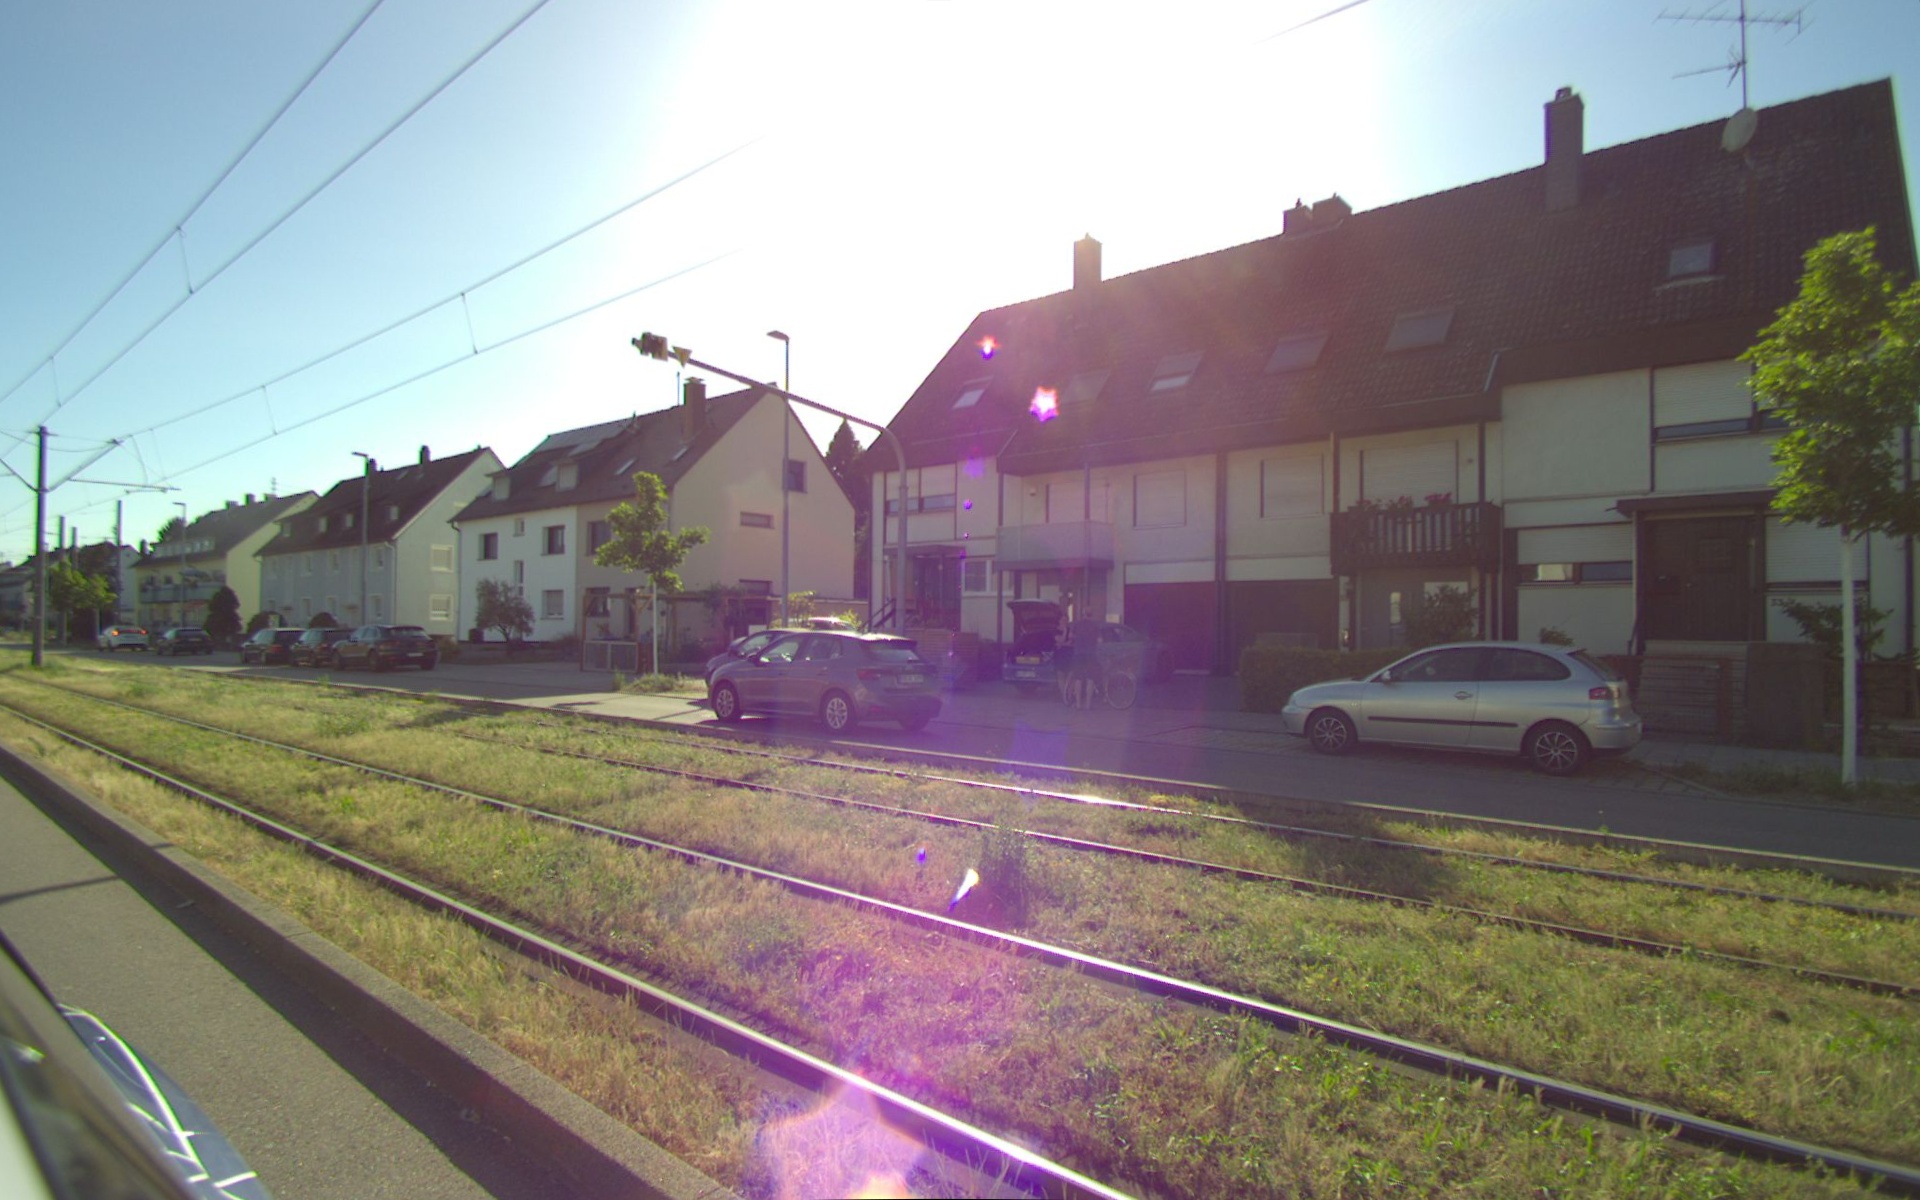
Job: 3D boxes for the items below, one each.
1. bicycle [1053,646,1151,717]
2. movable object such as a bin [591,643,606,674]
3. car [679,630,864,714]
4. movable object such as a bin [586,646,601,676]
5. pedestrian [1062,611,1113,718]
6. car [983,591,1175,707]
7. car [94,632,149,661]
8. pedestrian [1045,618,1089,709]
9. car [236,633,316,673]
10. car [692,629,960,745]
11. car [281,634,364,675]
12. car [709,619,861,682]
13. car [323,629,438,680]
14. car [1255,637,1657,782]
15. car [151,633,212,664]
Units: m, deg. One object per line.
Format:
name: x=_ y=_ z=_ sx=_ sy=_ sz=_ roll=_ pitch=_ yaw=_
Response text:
bicycle: x=2.519 y=1.431 z=18.149 sx=0.471 sy=1.172 sz=1.873 roll=0 pitch=-1 yaw=-43
movable object such as a bin: x=-11.912 y=1.936 z=33.371 sx=0.607 sy=1.021 sz=0.196 roll=-3 pitch=-3 yaw=44
car: x=-3.946 y=1.403 z=20.763 sx=4.084 sy=1.523 sz=1.601 roll=-2 pitch=-1 yaw=43
movable object such as a bin: x=-11.704 y=1.952 z=32.335 sx=0.607 sy=0.954 sz=0.196 roll=-3 pitch=-3 yaw=44
pedestrian: x=2.253 y=1.115 z=17.859 sx=0.677 sy=1.829 sz=0.610 roll=-1 pitch=-1 yaw=33
car: x=2.622 y=0.928 z=21.447 sx=1.787 sy=2.096 sz=4.413 roll=-1 pitch=1 yaw=42
car: x=-48.357 y=2.638 z=58.326 sx=4.090 sy=1.542 sz=1.808 roll=-1 pitch=-1 yaw=41
pedestrian: x=2.044 y=1.192 z=19.292 sx=0.544 sy=1.701 sz=0.625 roll=0 pitch=-1 yaw=-33
car: x=-27.945 y=2.109 z=41.274 sx=4.398 sy=1.466 sz=1.636 roll=-1 pitch=-1 yaw=41
car: x=-2.107 y=1.226 z=15.224 sx=4.081 sy=1.487 sz=1.671 roll=-1 pitch=-4 yaw=41
car: x=-23.924 y=2.017 z=37.938 sx=3.995 sy=1.479 sz=1.450 roll=-2 pitch=-3 yaw=40
car: x=-5.286 y=1.503 z=30.986 sx=1.969 sy=1.797 sz=4.346 roll=-2 pitch=-3 yaw=41
car: x=-19.853 y=1.797 z=34.590 sx=4.855 sy=1.572 sz=1.901 roll=-1 pitch=-1 yaw=40
car: x=5.881 y=1.187 z=12.295 sx=4.101 sy=1.447 sz=1.641 roll=-2 pitch=-2 yaw=41
car: x=-39.144 y=2.413 z=50.861 sx=4.090 sy=1.408 sz=1.682 roll=-1 pitch=-1 yaw=41
